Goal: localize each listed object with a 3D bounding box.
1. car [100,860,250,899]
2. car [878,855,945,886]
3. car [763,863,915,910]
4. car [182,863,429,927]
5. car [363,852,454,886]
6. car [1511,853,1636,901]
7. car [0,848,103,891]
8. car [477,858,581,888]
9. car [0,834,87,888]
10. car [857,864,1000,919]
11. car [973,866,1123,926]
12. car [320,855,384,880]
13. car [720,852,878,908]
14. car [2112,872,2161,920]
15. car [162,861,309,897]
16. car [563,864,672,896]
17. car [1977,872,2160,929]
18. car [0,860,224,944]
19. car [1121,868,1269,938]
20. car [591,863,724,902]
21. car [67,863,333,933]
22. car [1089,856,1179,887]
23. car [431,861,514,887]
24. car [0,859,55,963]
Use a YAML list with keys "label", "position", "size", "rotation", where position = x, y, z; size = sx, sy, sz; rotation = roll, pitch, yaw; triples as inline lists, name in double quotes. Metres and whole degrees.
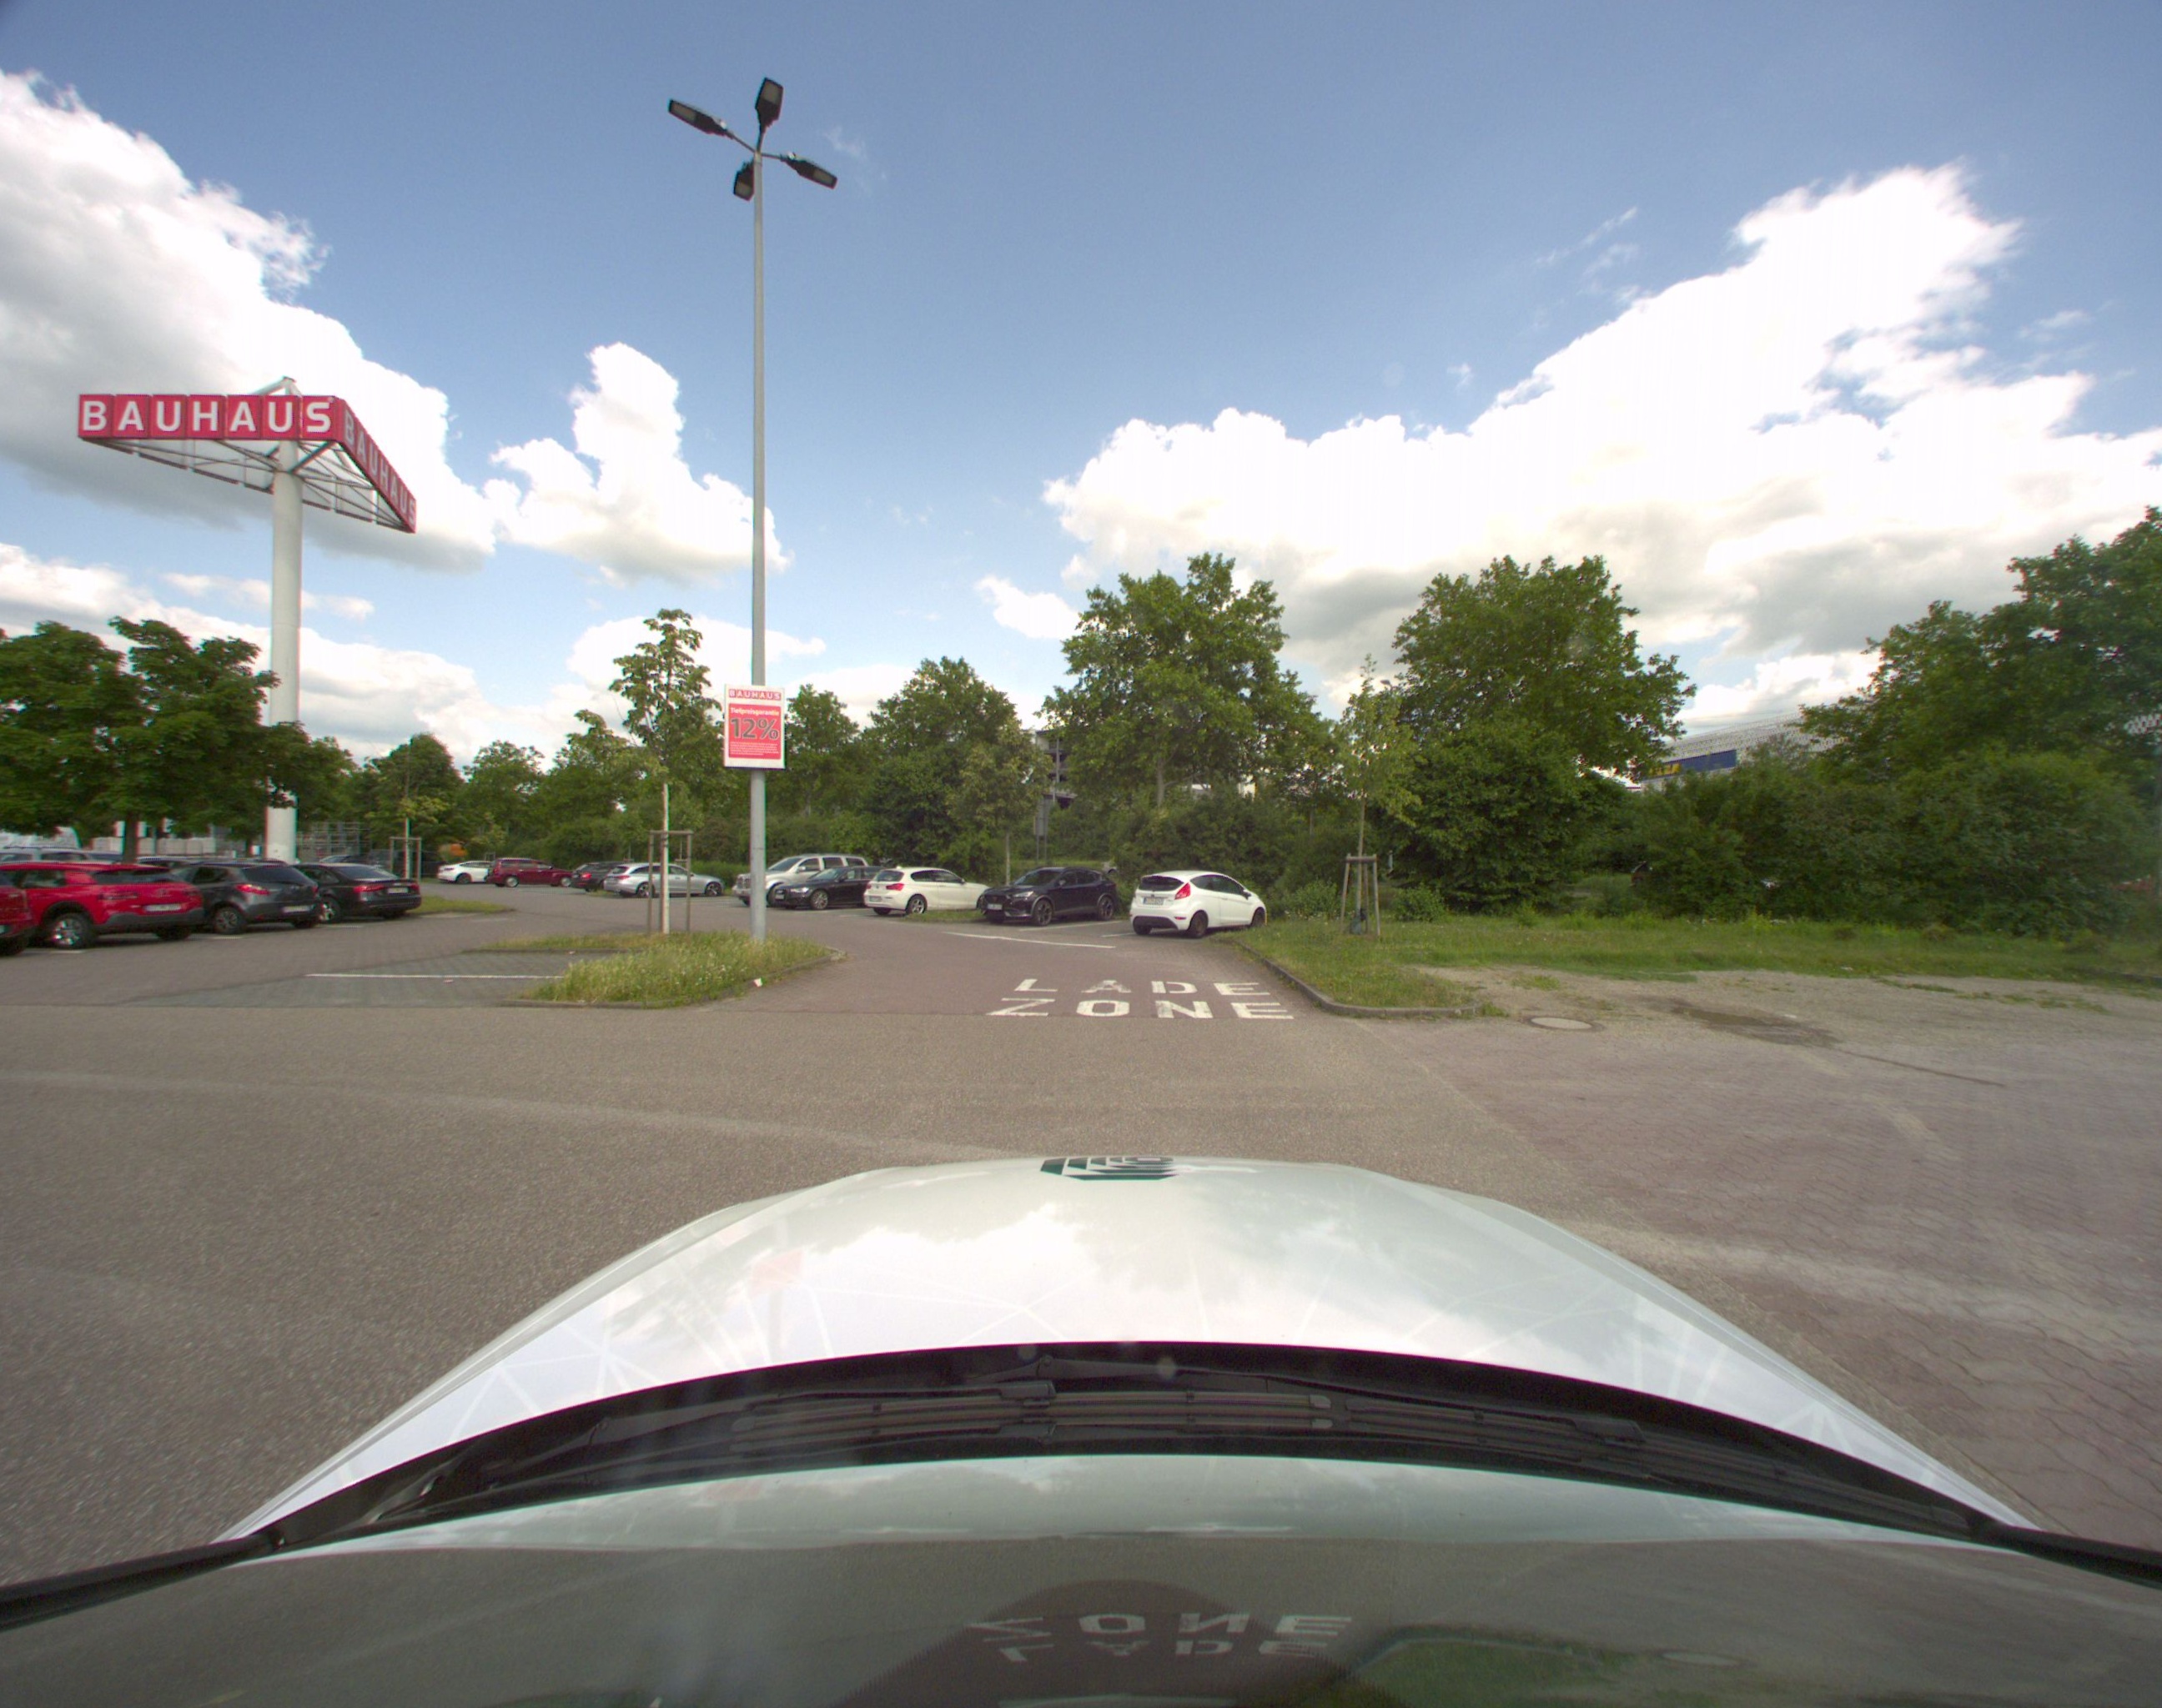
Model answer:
- label: "car"
  position: [-34.753, 0.959, 31.301]
  size: [3.750, 1.446, 1.725]
  rotation: [0, 0, -1]
- label: "car"
  position: [-11.673, 1.122, 55.886]
  size: [4.438, 2.014, 1.930]
  rotation: [-1, -3, 35]
- label: "car"
  position: [-8.117, 1.036, 27.752]
  size: [1.816, 1.451, 4.754]
  rotation: [0, 0, 39]
- label: "car"
  position: [-18.806, 0.964, 19.862]
  size: [4.506, 1.433, 1.774]
  rotation: [0, 0, 5]
- label: "car"
  position: [-41.856, 0.976, 50.811]
  size: [1.930, 2.019, 4.066]
  rotation: [0, -2, 8]
- label: "car"
  position: [18.869, 0.825, 31.249]
  size: [3.948, 1.715, 2.013]
  rotation: [0, 0, 36]
- label: "car"
  position: [-40.759, 0.568, 31.340]
  size: [3.972, 1.596, 1.911]
  rotation: [0, 0, 1]
- label: "car"
  position: [-30.585, 1.023, 45.197]
  size: [1.974, 1.596, 4.348]
  rotation: [0, 0, 36]
- label: "car"
  position: [-51.862, 0.337, 39.549]
  size: [4.693, 2.510, 2.055]
  rotation: [1, -2, 3]
- label: "car"
  position: [-4.536, 1.083, 24.682]
  size: [1.669, 1.510, 4.107]
  rotation: [-1, -1, 41]
- label: "car"
  position: [-0.794, 1.065, 22.067]
  size: [1.711, 1.410, 4.269]
  rotation: [0, 0, 38]
- label: "car"
  position: [-46.321, 0.867, 51.785]
  size: [1.341, 1.432, 2.698]
  rotation: [-1, -4, 11]
- label: "car"
  position: [-10.066, 0.869, 29.490]
  size: [1.965, 1.842, 5.180]
  rotation: [0, 0, 37]
- label: "car"
  position: [40.469, 1.540, 28.888]
  size: [4.536, 1.669, 2.012]
  rotation: [0, 0, 41]
- label: "car"
  position: [-34.892, 1.022, 33.681]
  size: [4.065, 1.439, 1.827]
  rotation: [0, 0, -1]
- label: "car"
  position: [-21.408, 1.241, 37.762]
  size: [1.677, 1.381, 4.025]
  rotation: [-3, -3, 37]
- label: "car"
  position: [35.393, 1.612, 29.378]
  size: [3.949, 1.808, 2.012]
  rotation: [0, 0, 42]
- label: "car"
  position: [-18.501, 0.827, 14.756]
  size: [4.060, 1.399, 1.767]
  rotation: [0, 0, 1]
- label: "car"
  position: [2.711, 1.054, 18.824]
  size: [1.649, 1.411, 3.579]
  rotation: [0, 0, 43]
- label: "car"
  position: [-17.751, 1.136, 34.354]
  size: [1.762, 1.504, 4.683]
  rotation: [0, 0, 37]
- label: "car"
  position: [-18.509, 0.893, 17.209]
  size: [3.971, 1.369, 1.580]
  rotation: [0, 0, 2]
- label: "car"
  position: [2.863, 0.913, 44.510]
  size: [4.682, 1.589, 1.759]
  rotation: [0, 0, 34]
- label: "car"
  position: [-36.760, 1.211, 49.258]
  size: [1.613, 1.468, 3.667]
  rotation: [-2, -2, 38]
- label: "car"
  position: [-18.256, 0.865, 12.267]
  size: [3.423, 1.581, 1.710]
  rotation: [0, 0, 1]
